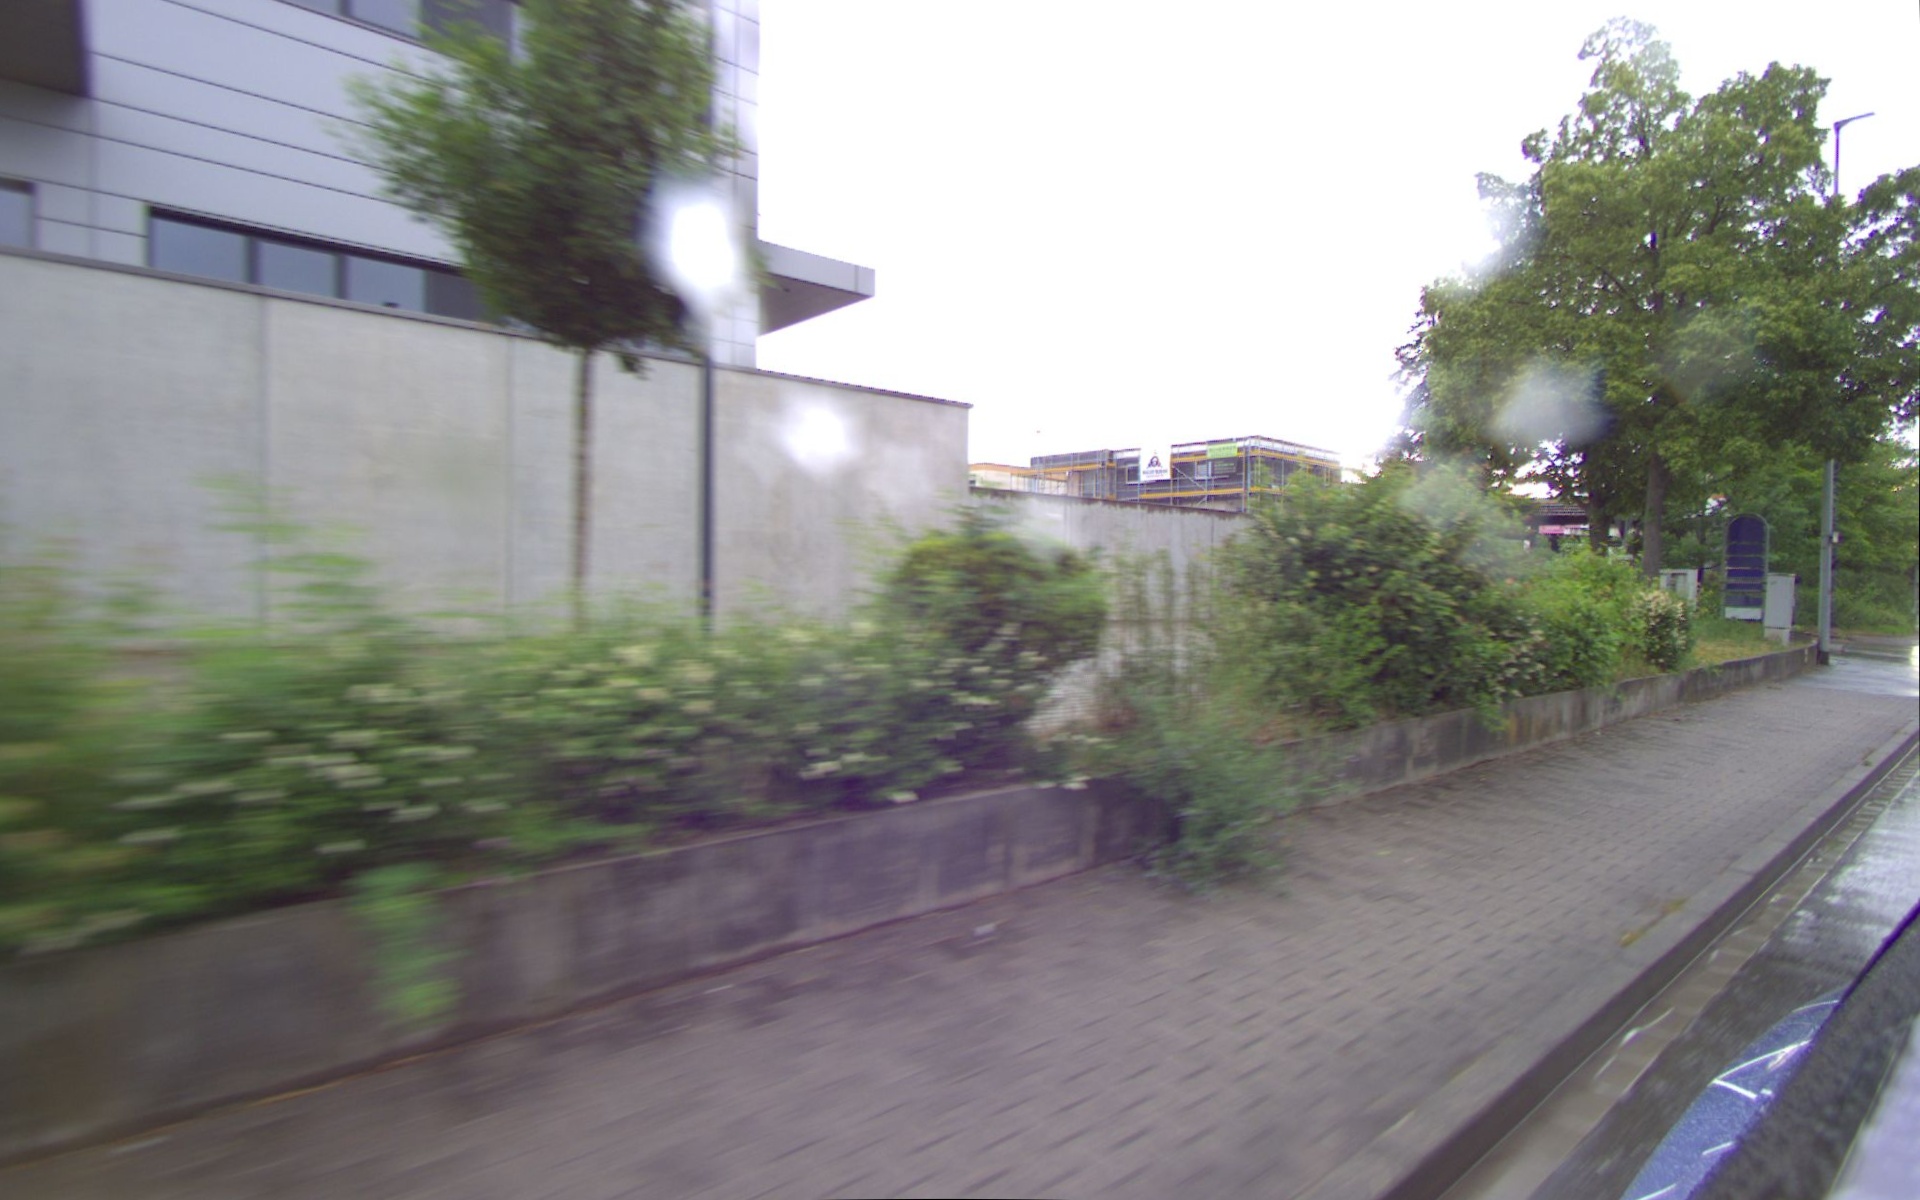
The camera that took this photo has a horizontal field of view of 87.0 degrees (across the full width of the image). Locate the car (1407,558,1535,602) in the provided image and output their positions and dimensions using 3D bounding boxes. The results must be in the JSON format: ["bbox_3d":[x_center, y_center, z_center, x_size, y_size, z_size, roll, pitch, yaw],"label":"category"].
[{"bbox_3d":[18.932,-0.778,37.596,1.738,1.517,3.887,1,2,-42],"label":"car"}]

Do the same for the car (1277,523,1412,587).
[{"bbox_3d":[15.781,-1.831,41.753,1.962,2.468,4.921,1,1,-34],"label":"car"}]
